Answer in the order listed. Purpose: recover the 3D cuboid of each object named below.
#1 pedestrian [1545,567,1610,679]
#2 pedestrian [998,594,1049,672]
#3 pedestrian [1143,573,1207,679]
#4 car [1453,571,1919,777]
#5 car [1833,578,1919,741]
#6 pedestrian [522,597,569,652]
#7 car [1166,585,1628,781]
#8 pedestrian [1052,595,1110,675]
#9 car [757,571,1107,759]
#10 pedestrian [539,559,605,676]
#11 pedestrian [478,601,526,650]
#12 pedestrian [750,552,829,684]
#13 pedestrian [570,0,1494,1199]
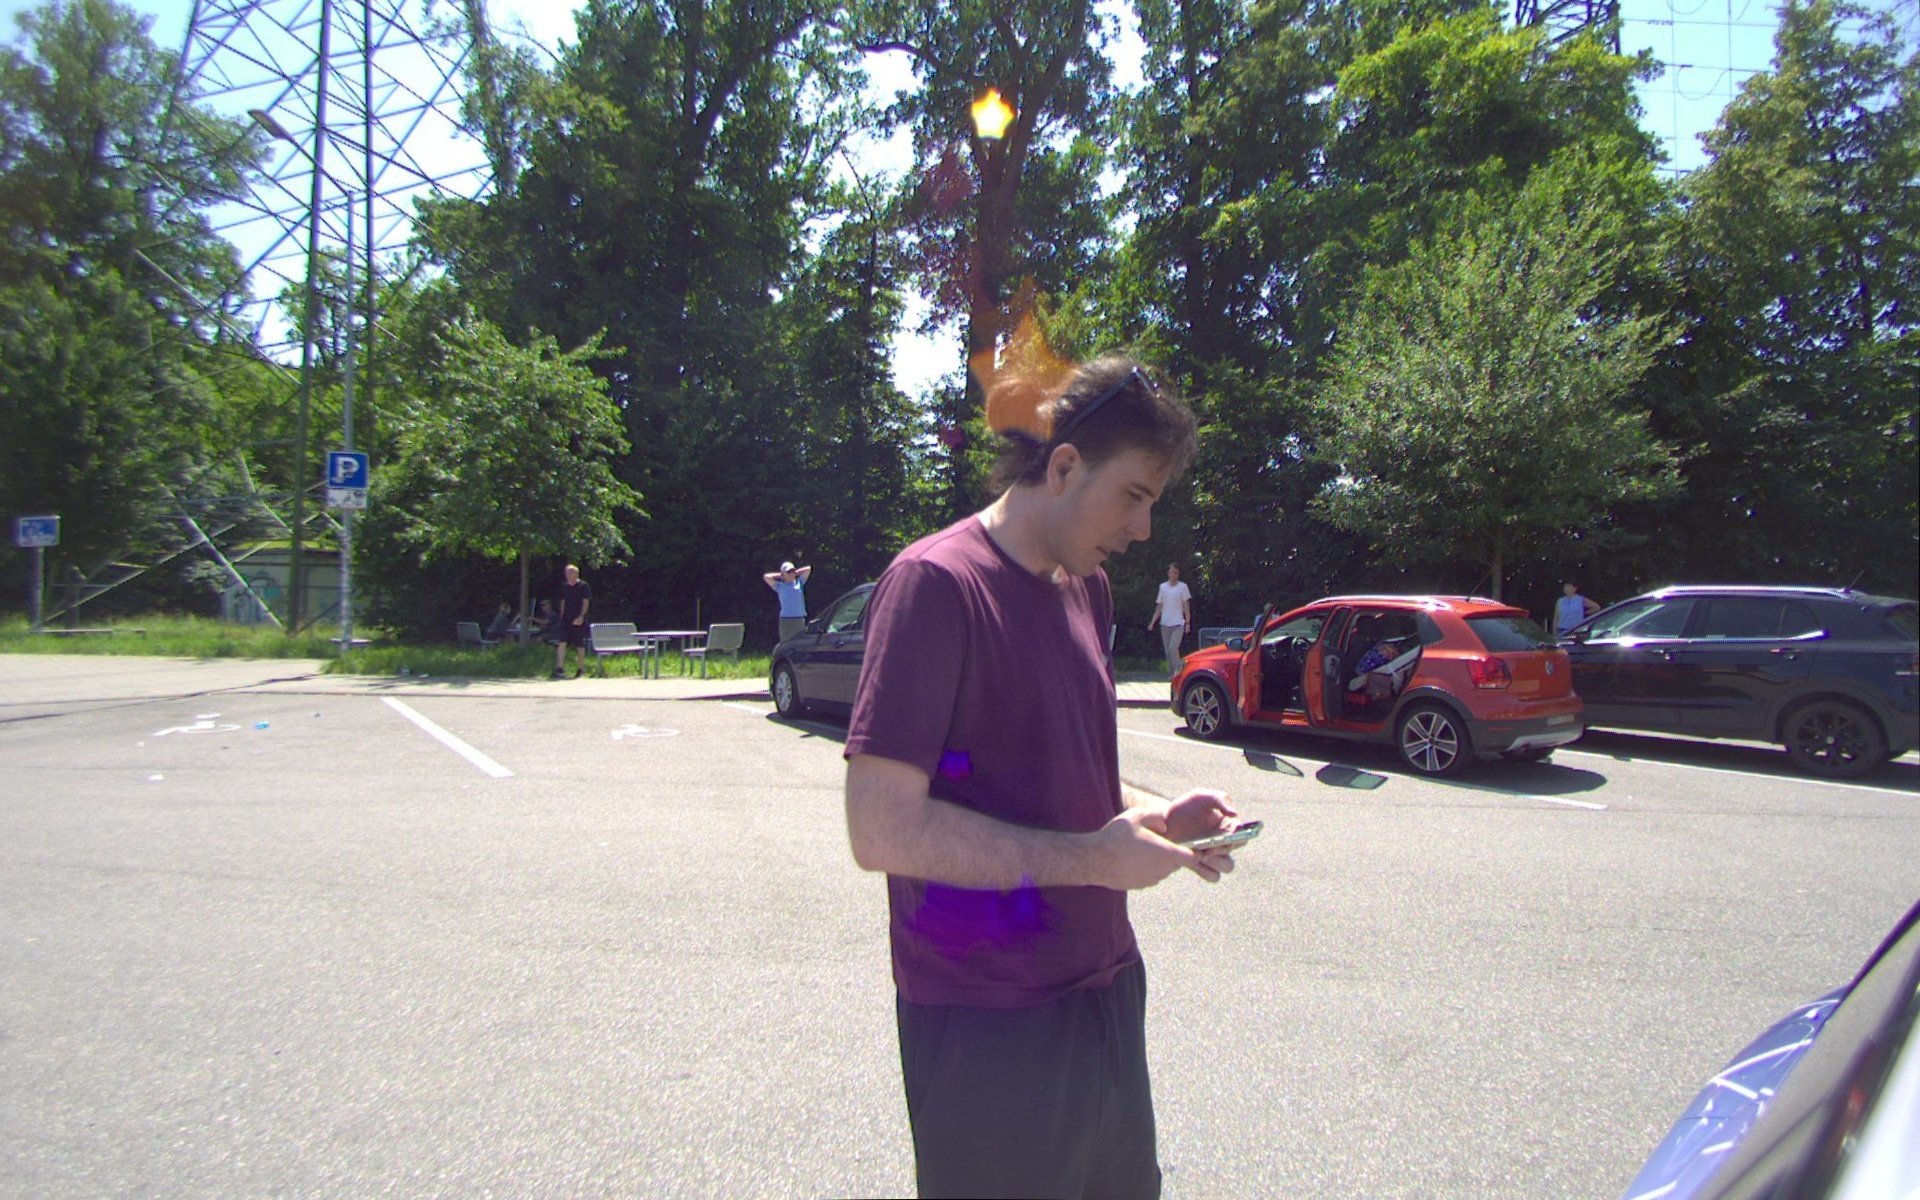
[{"bbox_3d":[9.274,0.333,15.195,0.712,1.614,0.797,0,-1,42],"label":"pedestrian"},{"bbox_3d":[1.069,0.541,17.073,0.656,1.285,0.655,1,-1,-17],"label":"pedestrian"},{"bbox_3d":[3.374,0.393,15.855,0.769,1.614,0.801,0,-1,29],"label":"pedestrian"},{"bbox_3d":[7.203,0.576,9.832,1.807,1.612,3.967,1,0,-38],"label":"car"},{"bbox_3d":[10.924,0.601,9.380,1.745,1.612,3.972,1,0,-32],"label":"car"},{"bbox_3d":[-9.647,0.565,23.539,0.796,1.253,0.713,1,-1,-44],"label":"pedestrian"},{"bbox_3d":[3.922,0.621,9.644,1.746,1.475,3.710,1,0,-33],"label":"car"},{"bbox_3d":[2.013,0.572,16.908,0.656,1.311,0.832,1,-1,-17],"label":"pedestrian"},{"bbox_3d":[-0.489,0.544,10.691,1.809,1.588,4.017,1,0,-35],"label":"car"},{"bbox_3d":[-6.325,0.271,16.531,0.702,1.851,0.904,1,-1,1],"label":"pedestrian"},{"bbox_3d":[-10.370,0.568,22.893,0.796,1.062,0.714,1,-1,-43],"label":"pedestrian"},{"bbox_3d":[-2.414,0.248,14.303,0.786,1.784,0.809,1,-1,-39],"label":"pedestrian"},{"bbox_3d":[0.113,0.439,1.351,0.828,1.797,0.926,0,-1,45],"label":"pedestrian"}]
